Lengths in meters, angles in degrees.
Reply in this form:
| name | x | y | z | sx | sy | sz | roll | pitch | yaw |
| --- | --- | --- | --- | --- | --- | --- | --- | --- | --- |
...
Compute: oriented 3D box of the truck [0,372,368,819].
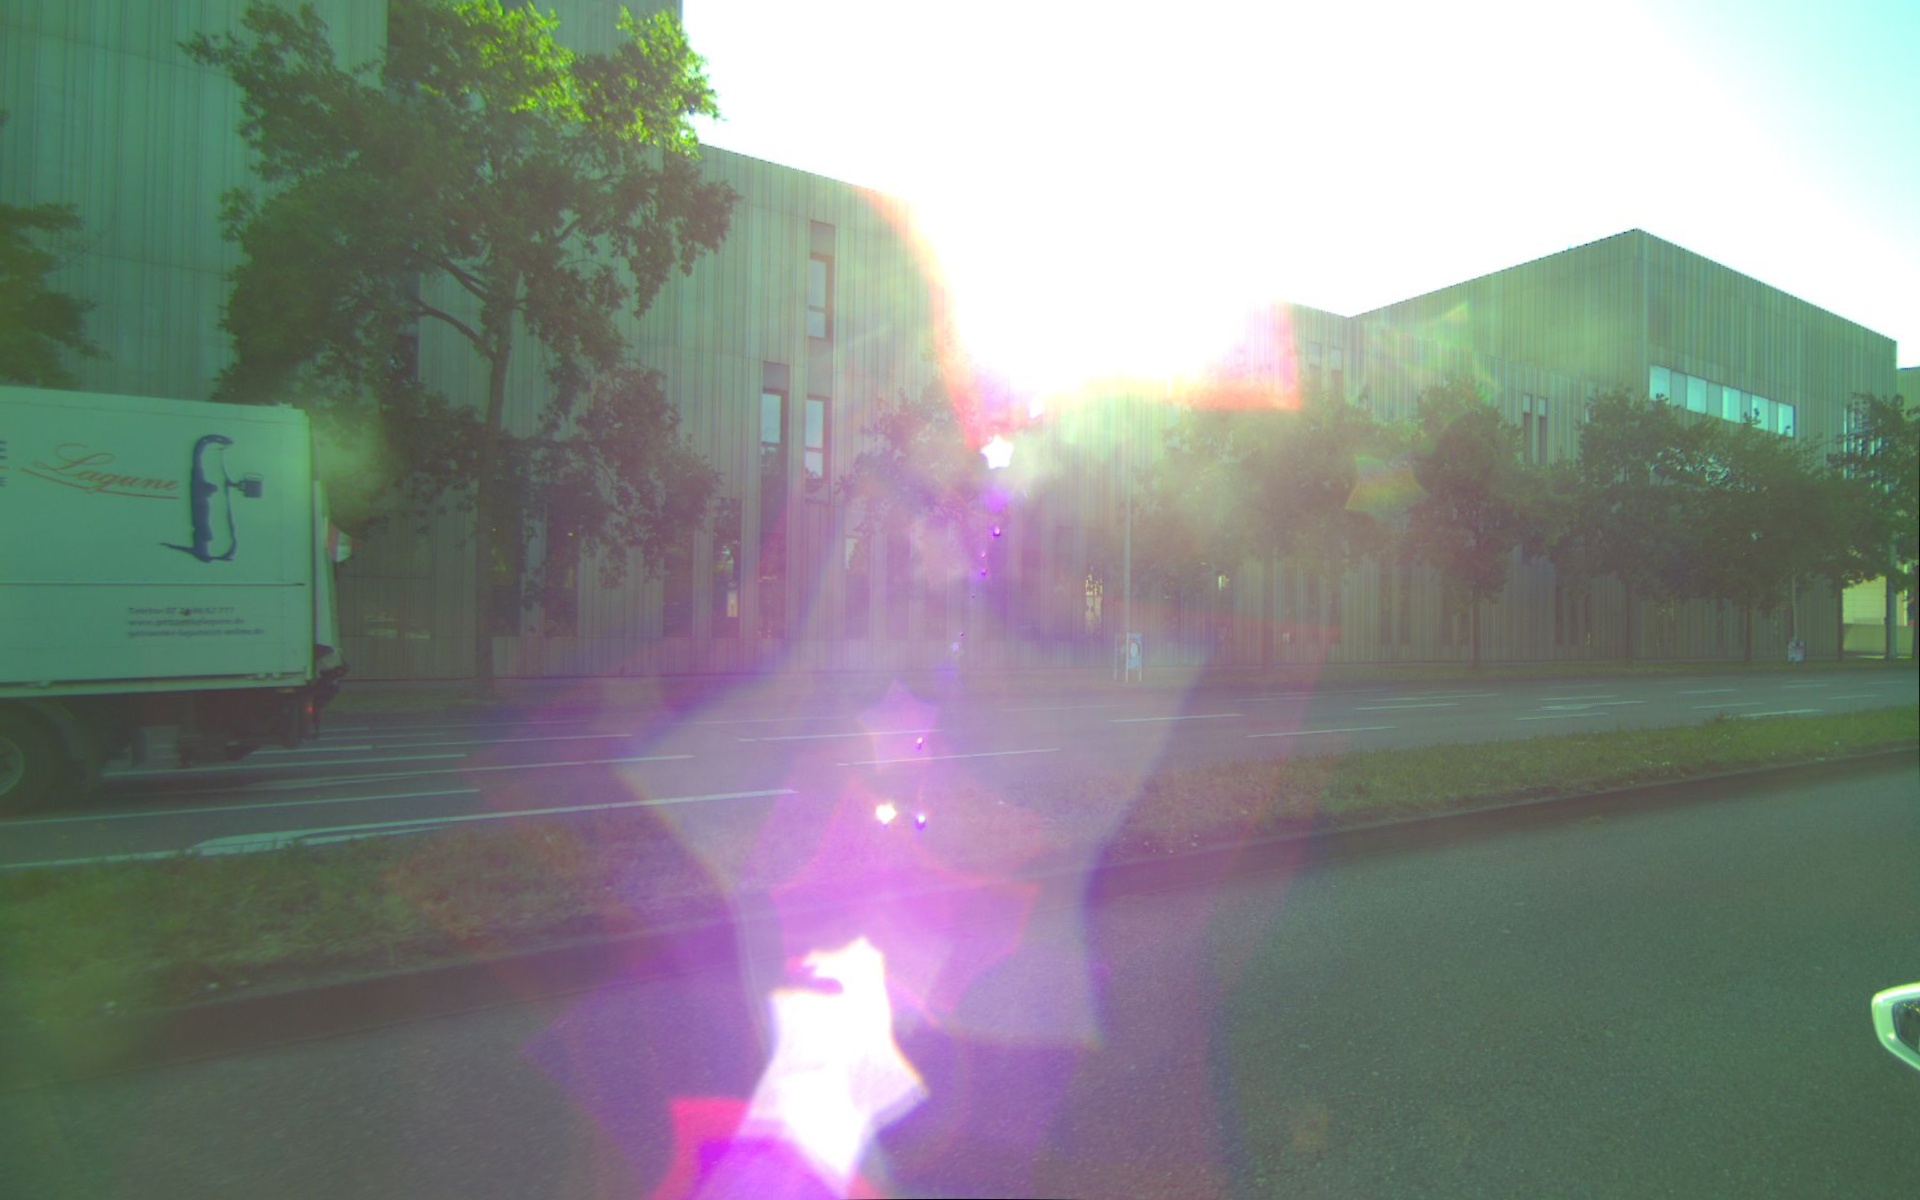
| name | x | y | z | sx | sy | sz | roll | pitch | yaw |
| --- | --- | --- | --- | --- | --- | --- | --- | --- | --- |
| truck | -8.347 | -0.006 | 7.138 | 7.031 | 2.999 | 2.674 | 1 | -3 | -30 |
